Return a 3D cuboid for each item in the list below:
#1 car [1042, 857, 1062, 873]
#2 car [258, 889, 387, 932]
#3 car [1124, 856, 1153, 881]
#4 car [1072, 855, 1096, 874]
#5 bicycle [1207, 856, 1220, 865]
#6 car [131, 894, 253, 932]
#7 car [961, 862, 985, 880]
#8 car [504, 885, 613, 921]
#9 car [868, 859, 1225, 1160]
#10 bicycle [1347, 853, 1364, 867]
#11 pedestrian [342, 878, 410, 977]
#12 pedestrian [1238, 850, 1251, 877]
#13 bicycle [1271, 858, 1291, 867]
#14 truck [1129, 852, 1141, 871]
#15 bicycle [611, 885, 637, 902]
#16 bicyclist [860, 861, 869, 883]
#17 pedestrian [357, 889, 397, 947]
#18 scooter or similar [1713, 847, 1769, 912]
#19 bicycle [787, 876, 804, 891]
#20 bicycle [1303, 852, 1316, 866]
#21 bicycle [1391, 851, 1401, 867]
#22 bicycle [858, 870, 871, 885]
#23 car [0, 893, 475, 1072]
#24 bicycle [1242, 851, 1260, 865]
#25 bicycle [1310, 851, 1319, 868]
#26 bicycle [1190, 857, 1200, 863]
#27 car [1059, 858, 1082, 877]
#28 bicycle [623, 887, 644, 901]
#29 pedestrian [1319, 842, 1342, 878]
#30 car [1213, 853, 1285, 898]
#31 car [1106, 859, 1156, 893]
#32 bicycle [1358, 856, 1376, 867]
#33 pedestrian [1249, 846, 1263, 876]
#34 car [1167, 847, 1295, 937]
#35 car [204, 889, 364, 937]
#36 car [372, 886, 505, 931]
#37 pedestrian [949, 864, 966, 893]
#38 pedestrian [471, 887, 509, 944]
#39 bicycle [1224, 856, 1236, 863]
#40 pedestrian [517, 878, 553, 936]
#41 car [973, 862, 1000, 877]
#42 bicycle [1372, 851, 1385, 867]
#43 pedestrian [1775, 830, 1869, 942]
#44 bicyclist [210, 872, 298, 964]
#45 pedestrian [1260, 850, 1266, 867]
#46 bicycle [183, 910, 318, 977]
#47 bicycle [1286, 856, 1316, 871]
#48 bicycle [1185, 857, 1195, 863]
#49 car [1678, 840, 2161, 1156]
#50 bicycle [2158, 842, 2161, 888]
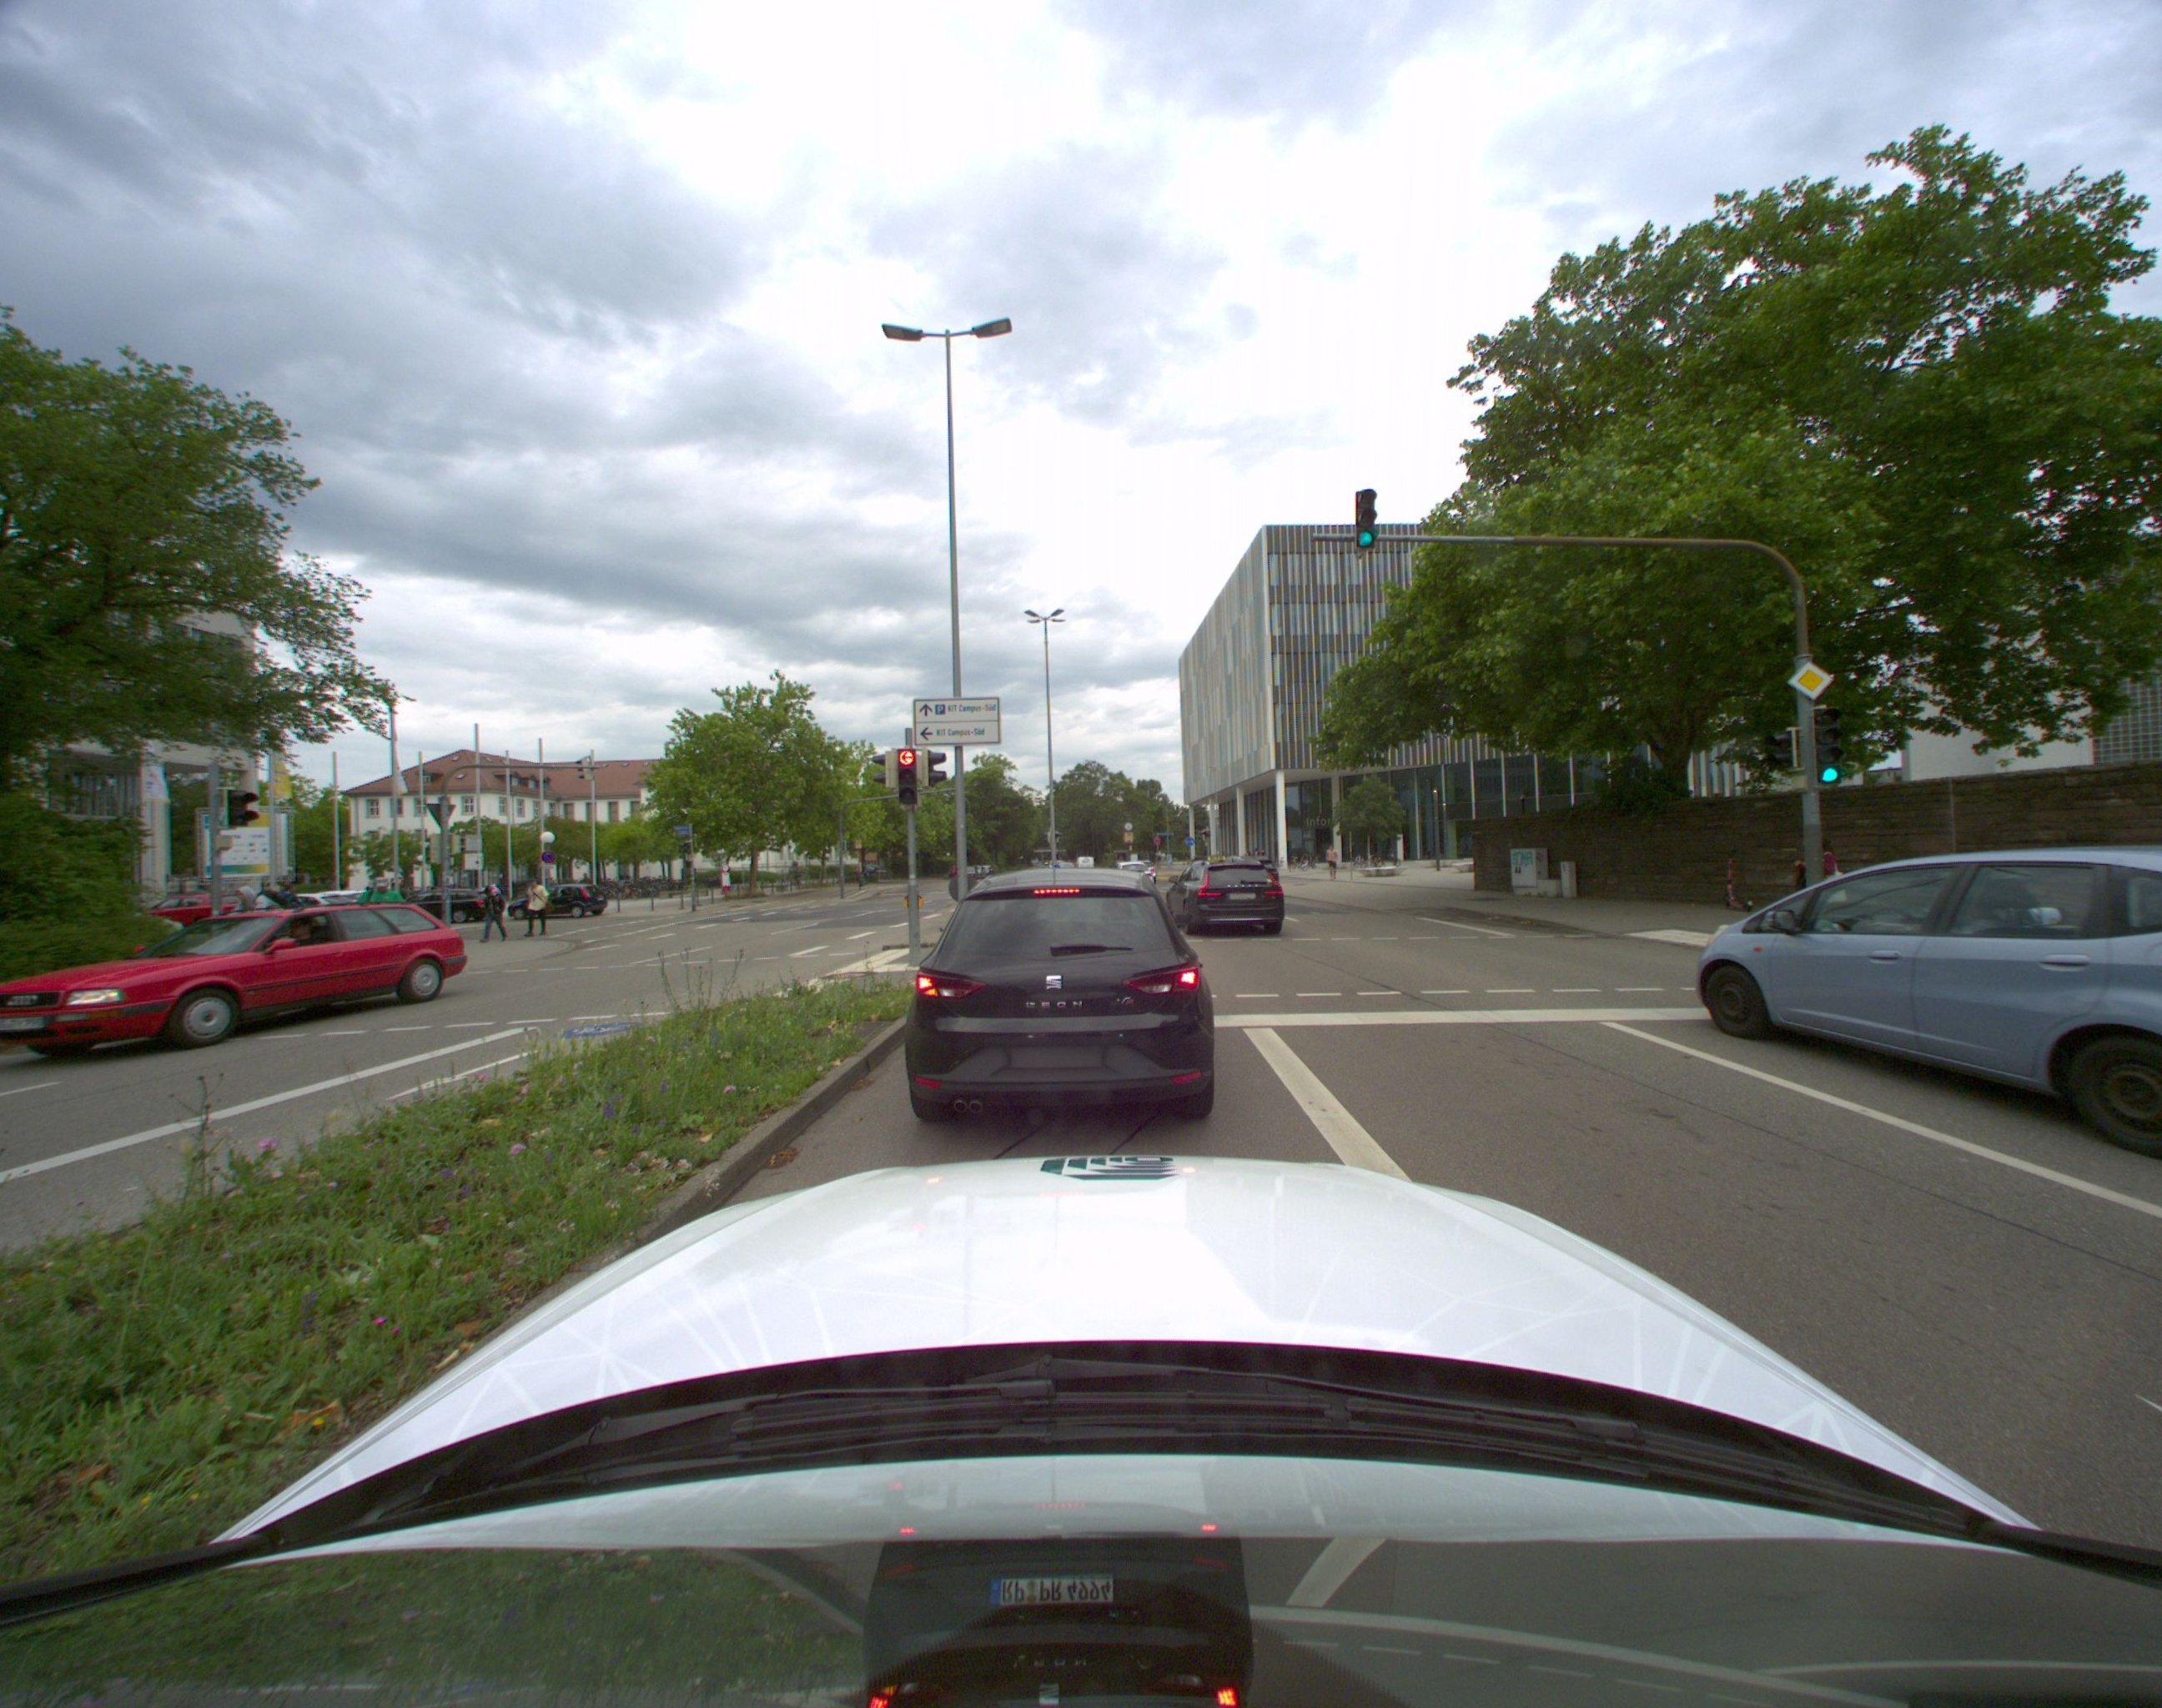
[{"bbox_3d":[-3.102,1.114,86.455,1.728,1.603,4.095,-1,0,-7],"label":"car"},{"bbox_3d":[-33.049,2.442,35.573,3.868,1.539,1.684,-2,2,-2],"label":"car"},{"bbox_3d":[3.728,0.935,52.653,1.817,1.551,4.531,0,-1,4],"label":"car"},{"bbox_3d":[0.298,1.149,88.129,1.965,1.972,4.332,0,0,-7],"label":"car"},{"bbox_3d":[14.947,0.750,91.683,1.379,0.942,0.489,-3,0,8],"label":"bicycle"},{"bbox_3d":[-38.163,2.510,35.025,3.341,1.479,1.559,-1,0,-5],"label":"car"},{"bbox_3d":[-11.481,1.825,86.765,1.899,1.717,4.002,-3,0,2],"label":"car"},{"bbox_3d":[-22.987,2.151,35.952,3.649,1.223,1.562,-2,7,-5],"label":"car"},{"bbox_3d":[-0.038,0.774,5.882,1.745,1.432,3.773,-1,0,4],"label":"car"},{"bbox_3d":[20.544,0.467,61.012,0.688,0.946,1.997,-3,0,32],"label":"bicycle"},{"bbox_3d":[-13.297,1.346,15.365,0.948,1.759,0.865,0,-2,-42],"label":"pedestrian"},{"bbox_3d":[10.108,0.568,50.367,0.684,1.640,0.633,-1,0,1],"label":"pedestrian"},{"bbox_3d":[17.049,0.724,69.437,1.475,0.748,0.566,-4,0,-2],"label":"bicycle"},{"bbox_3d":[6.871,0.936,104.097,1.313,2.243,3.403,-3,0,2],"label":"truck"},{"bbox_3d":[-31.083,2.703,55.434,1.405,1.052,0.585,-4,0,-19],"label":"bicycle"},{"bbox_3d":[-16.362,1.338,61.472,0.489,1.624,0.588,0,1,1],"label":"bicyclist"},{"bbox_3d":[-19.471,1.772,22.535,0.572,1.527,0.842,-2,-5,-22],"label":"pedestrian"},{"bbox_3d":[13.088,0.484,16.181,0.428,1.179,1.714,-4,0,26],"label":"scooter or similar"},{"bbox_3d":[-21.059,2.165,60.166,0.606,1.060,2.041,-3,0,-4],"label":"bicycle"},{"bbox_3d":[18.793,0.435,66.906,0.614,1.045,1.716,-3,0,28],"label":"bicycle"},{"bbox_3d":[22.536,0.318,58.302,0.616,1.056,1.959,-3,0,21],"label":"bicycle"},{"bbox_3d":[-16.360,1.772,61.484,0.486,1.005,1.590,-1,1,2],"label":"bicycle"},{"bbox_3d":[-9.927,1.341,9.891,1.707,1.418,4.297,-3,0,3],"label":"car"},{"bbox_3d":[16.177,0.408,77.523,1.785,1.211,0.564,-4,0,-32],"label":"bicycle"},{"bbox_3d":[18.405,0.401,64.120,0.522,1.253,1.674,-3,0,20],"label":"bicycle"},{"bbox_3d":[14.953,0.762,106.701,1.239,0.823,0.479,0,-1,-21],"label":"bicycle"},{"bbox_3d":[-0.916,1.118,68.857,1.719,1.414,4.239,-1,0,-4],"label":"car"},{"bbox_3d":[-30.899,2.754,56.197,1.211,0.880,0.262,-4,0,-22],"label":"bicycle"},{"bbox_3d":[12.606,0.296,41.114,0.844,1.765,0.768,-3,0,1],"label":"pedestrian"},{"bbox_3d":[6.431,0.779,31.653,1.901,1.624,4.491,-1,0,1],"label":"car"},{"bbox_3d":[2.282,0.997,37.950,1.778,1.463,3.864,-1,0,-5],"label":"car"},{"bbox_3d":[21.189,0.544,60.302,1.535,0.716,0.513,-4,0,-42],"label":"bicycle"},{"bbox_3d":[10.827,0.432,50.450,0.684,1.781,0.677,-2,0,1],"label":"pedestrian"},{"bbox_3d":[2.974,0.699,17.116,1.877,1.600,4.447,-1,0,0],"label":"car"},{"bbox_3d":[-30.382,2.220,31.134,4.204,1.431,1.708,-4,0,-4],"label":"car"},{"bbox_3d":[-27.576,2.302,35.089,4.059,1.452,1.615,-3,5,-16],"label":"car"},{"bbox_3d":[-7.059,1.370,46.546,0.873,1.586,0.542,-3,0,-5],"label":"pedestrian"},{"bbox_3d":[-16.840,1.759,23.199,0.796,1.558,0.691,0,-5,-42],"label":"pedestrian"},{"bbox_3d":[15.839,0.576,86.663,1.232,0.705,0.490,-3,0,10],"label":"bicycle"},{"bbox_3d":[-16.859,1.643,25.160,0.845,1.740,0.823,-1,-5,-29],"label":"pedestrian"},{"bbox_3d":[-11.169,1.841,96.717,1.746,1.587,4.016,-3,0,15],"label":"car"},{"bbox_3d":[21.659,0.378,59.249,0.802,1.056,1.959,-3,0,21],"label":"bicycle"},{"bbox_3d":[10.996,0.463,12.107,0.657,1.561,0.636,-6,0,1],"label":"pedestrian"},{"bbox_3d":[-15.569,1.174,15.349,0.660,1.635,0.966,-1,0,22],"label":"bicyclist"},{"bbox_3d":[15.316,0.362,68.524,0.469,1.361,0.447,-3,0,12],"label":"pedestrian"},{"bbox_3d":[-15.576,1.648,15.328,0.660,1.062,1.628,-1,0,22],"label":"bicycle"},{"bbox_3d":[15.108,0.625,55.994,1.892,0.898,0.693,-4,0,-20],"label":"bicycle"},{"bbox_3d":[14.539,0.805,108.840,1.262,0.848,0.479,1,-2,-21],"label":"bicycle"},{"bbox_3d":[5.887,0.662,5.098,1.660,1.466,3.661,-1,0,1],"label":"car"},{"bbox_3d":[13.552,0.405,8.923,0.801,1.174,1.952,-5,0,-3],"label":"bicycle"}]
